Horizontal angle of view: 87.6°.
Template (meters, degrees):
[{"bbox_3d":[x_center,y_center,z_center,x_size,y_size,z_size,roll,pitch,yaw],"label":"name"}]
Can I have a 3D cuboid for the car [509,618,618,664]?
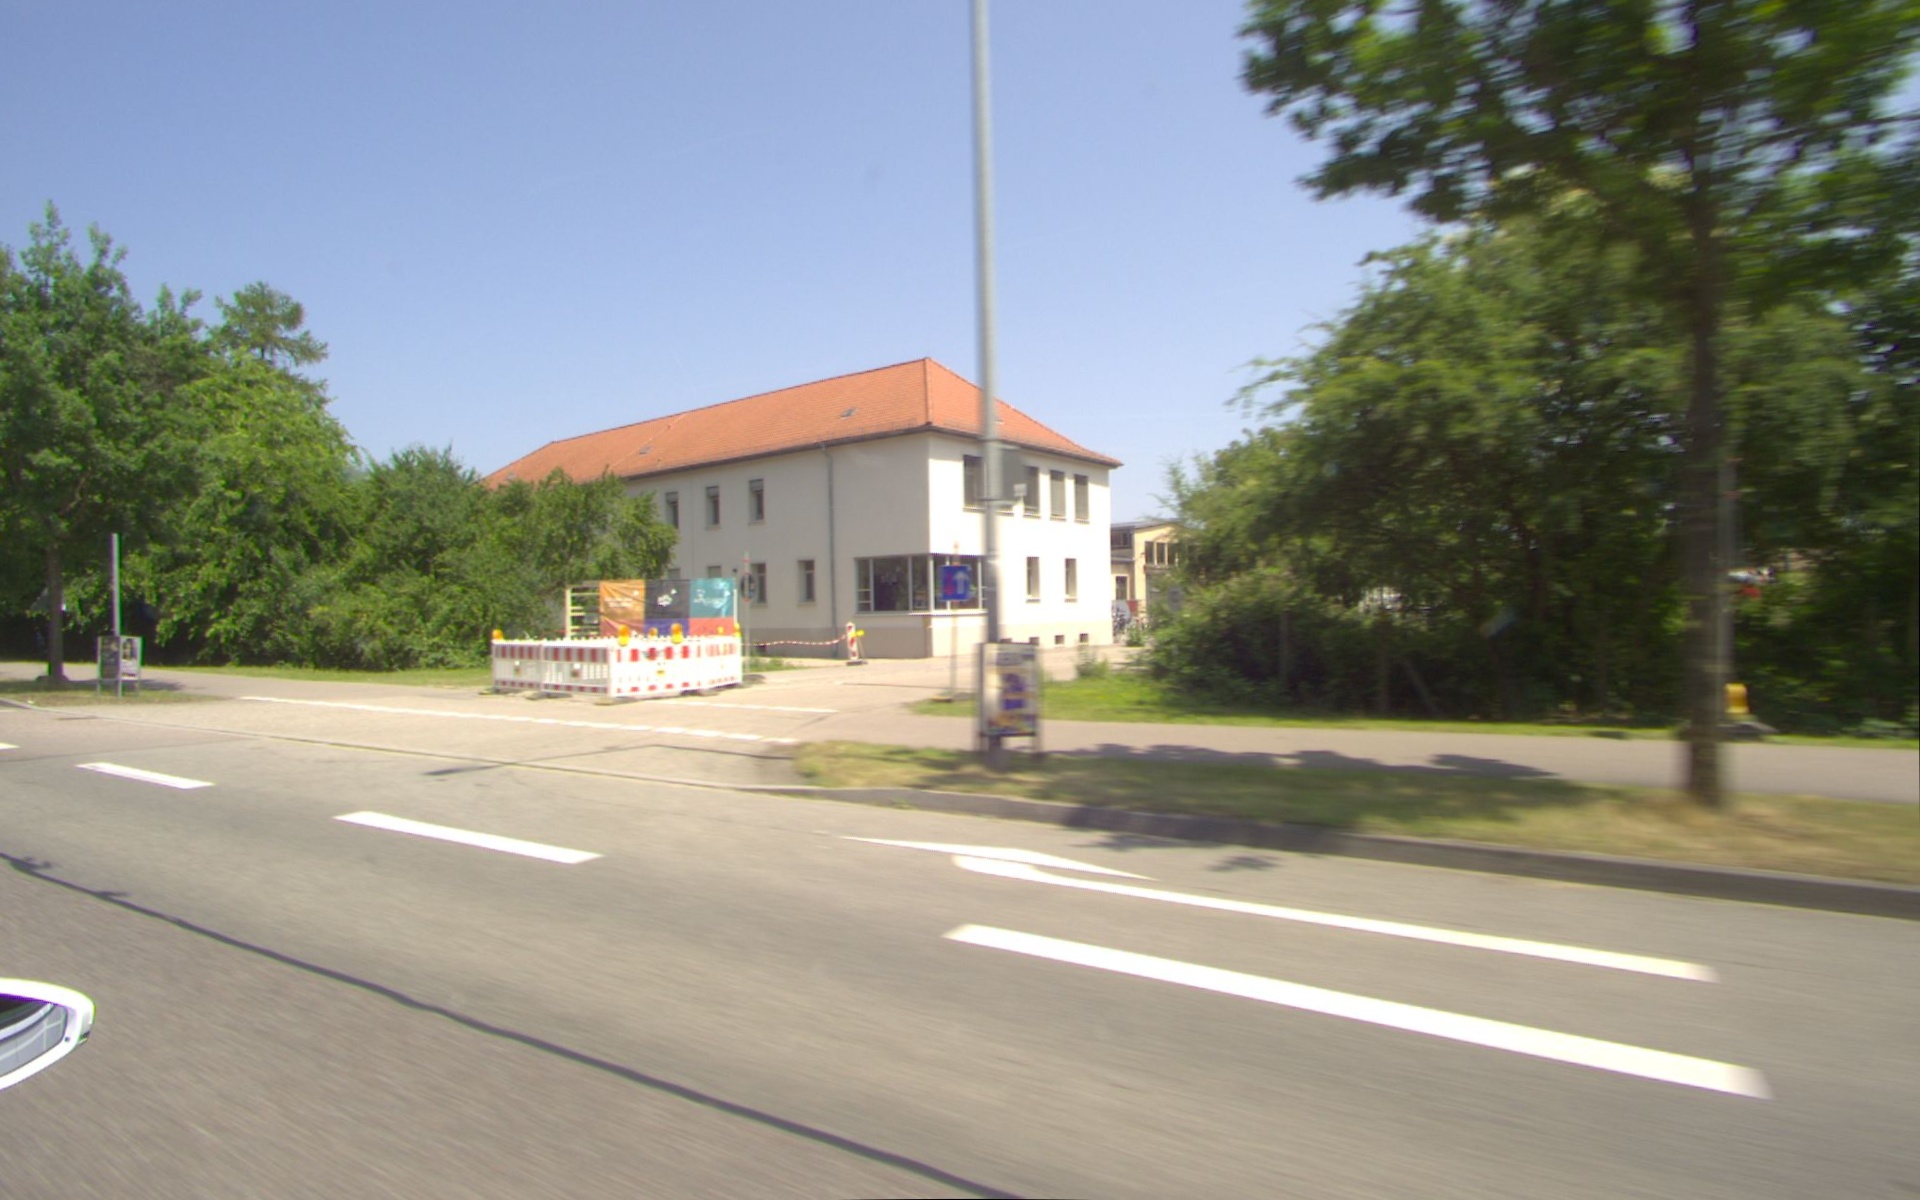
[{"bbox_3d":[-15.740,1.609,39.911,3.933,1.684,1.874,0,0,-22],"label":"car"}]

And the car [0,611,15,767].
[{"bbox_3d":[-12.035,0.945,10.859,3.837,1.633,1.788,-1,-1,33],"label":"car"}]
